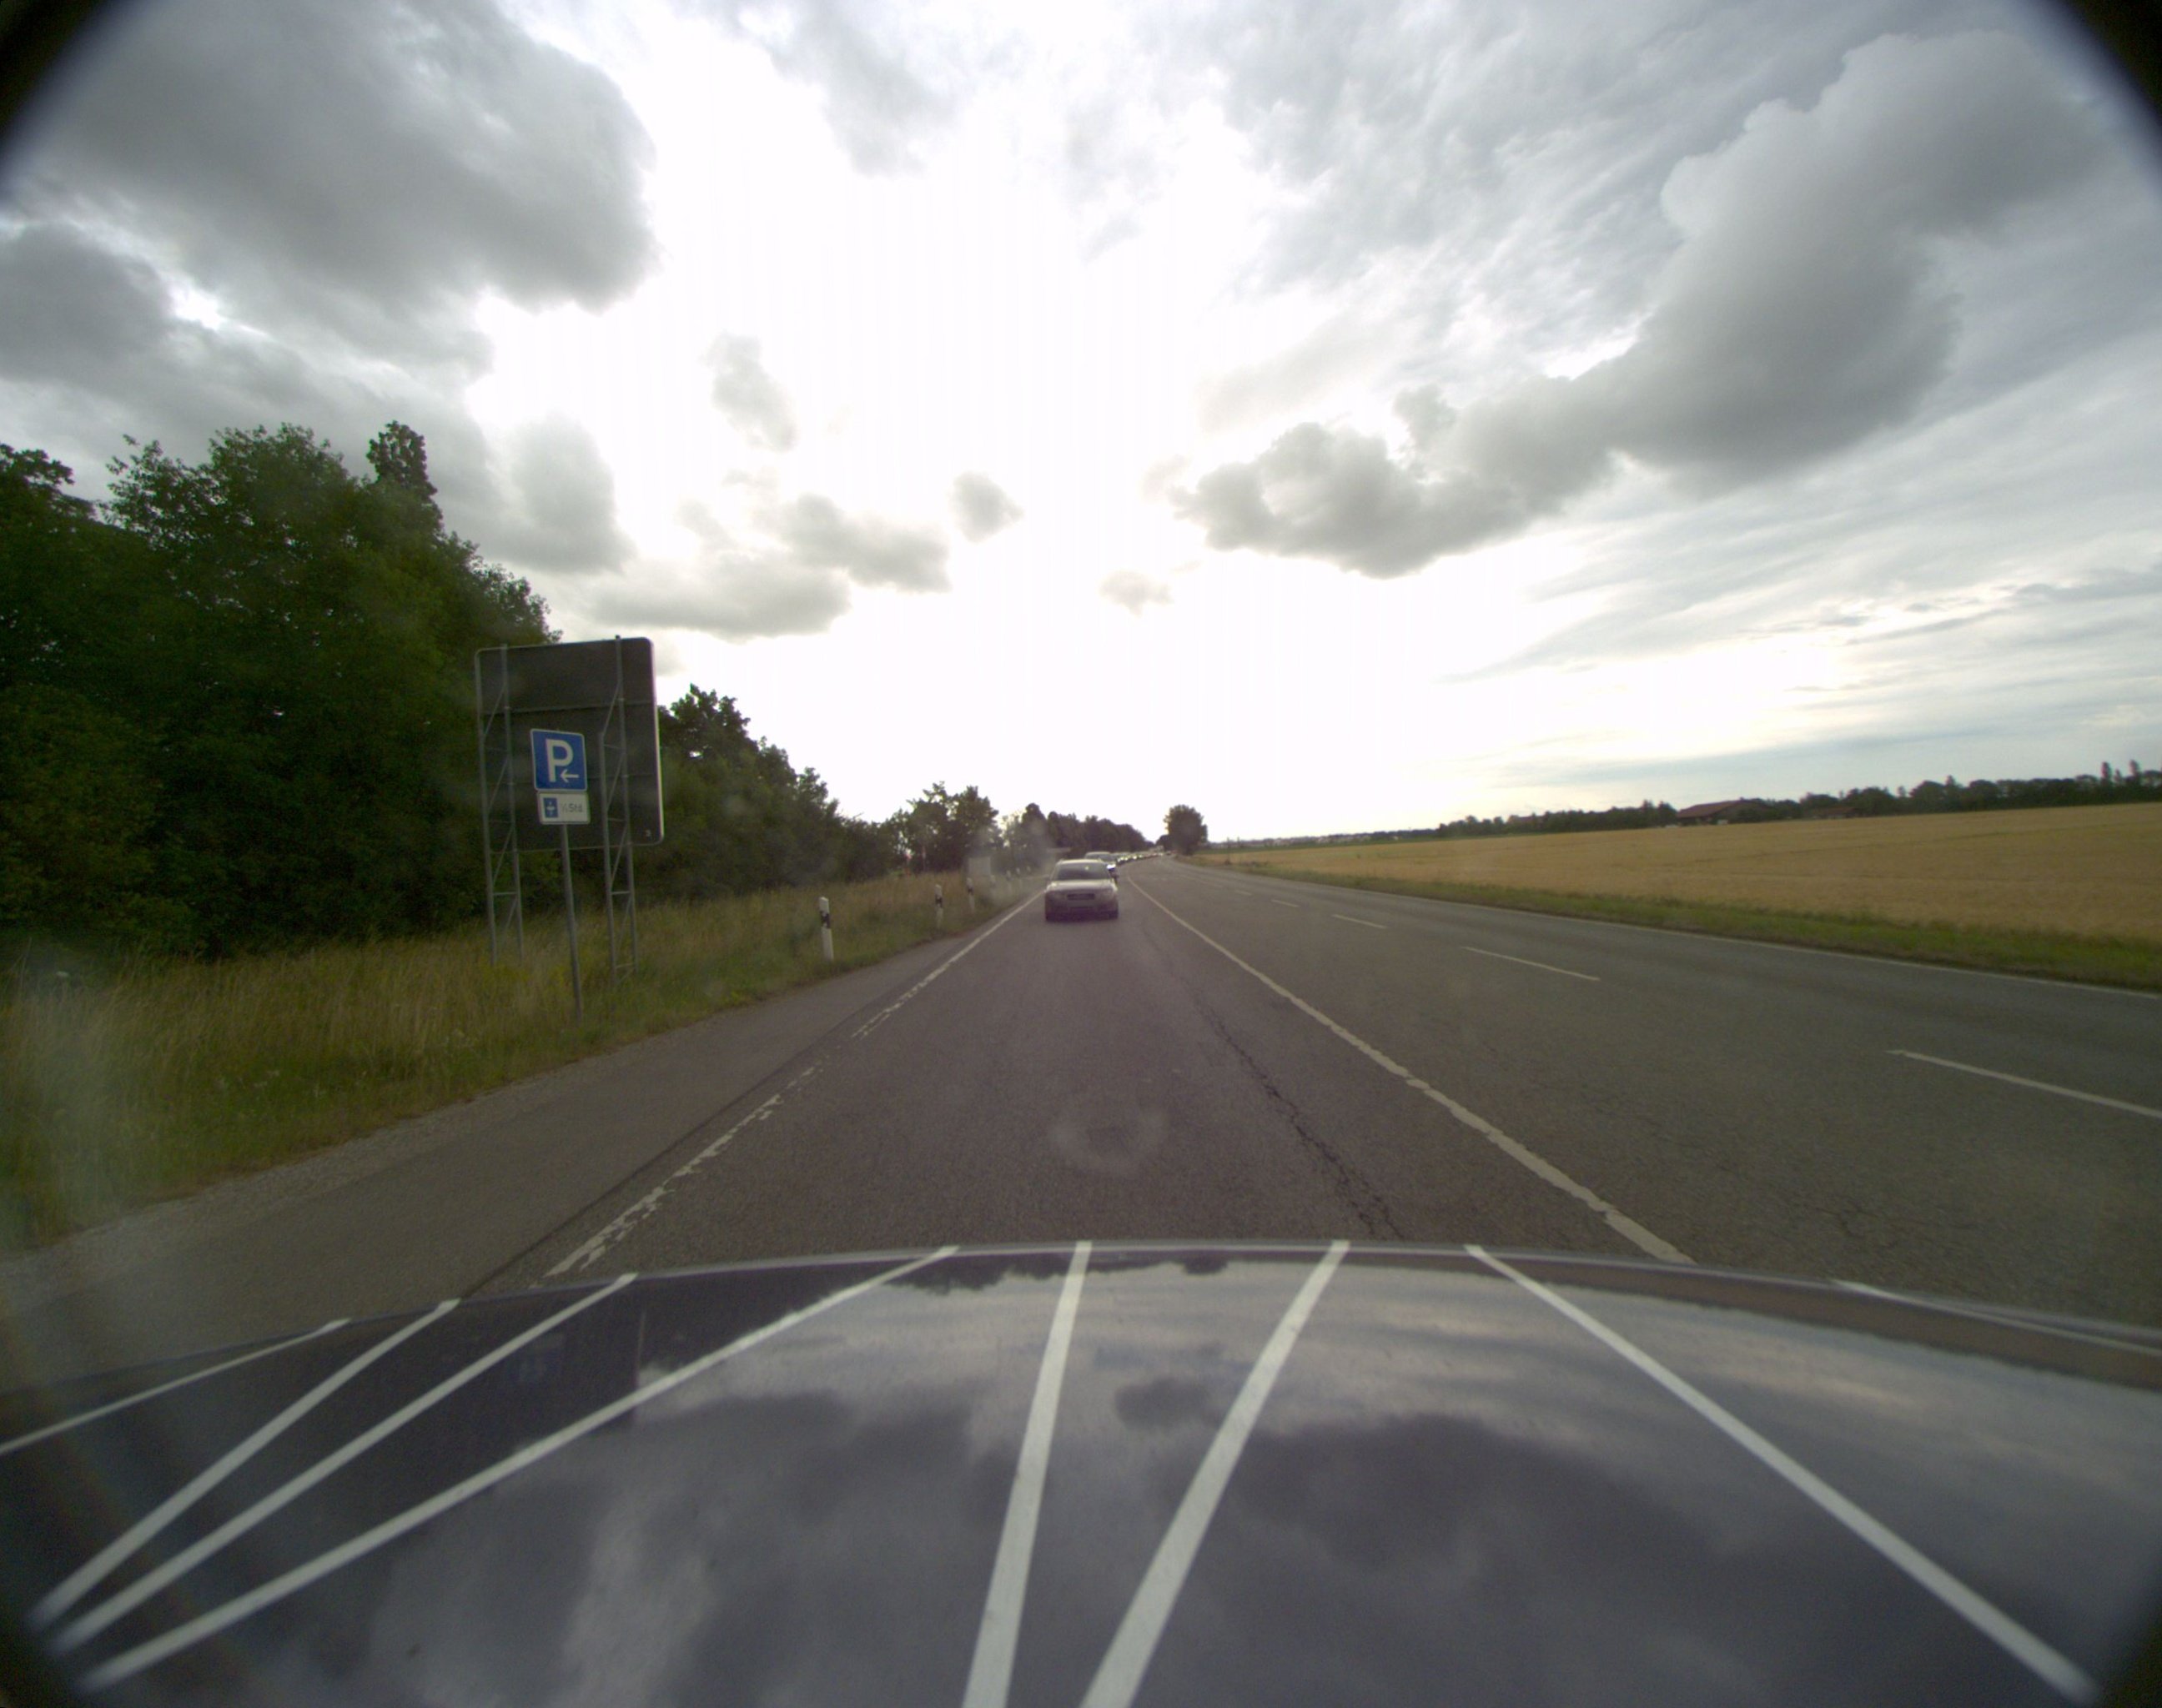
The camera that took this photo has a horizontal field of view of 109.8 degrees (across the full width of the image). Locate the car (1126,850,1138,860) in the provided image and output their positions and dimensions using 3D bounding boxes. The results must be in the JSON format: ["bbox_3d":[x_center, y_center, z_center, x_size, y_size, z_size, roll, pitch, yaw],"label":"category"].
[{"bbox_3d":[8.532,0.198,126.856,1.793,1.573,4.189,-2,0,6],"label":"car"}]

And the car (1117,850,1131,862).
[{"bbox_3d":[6.211,0.311,109.753,1.793,1.573,4.189,-2,0,6],"label":"car"}]

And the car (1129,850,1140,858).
[{"bbox_3d":[10.603,0.031,150.423,1.793,1.573,4.139,-2,0,7],"label":"car"}]

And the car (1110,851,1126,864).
[{"bbox_3d":[4.767,0.478,97.276,1.793,1.573,4.369,-2,0,5],"label":"car"}]

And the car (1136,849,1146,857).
[{"bbox_3d":[13.037,-0.179,164.706,1.792,1.573,4.140,-2,0,10],"label":"car"}]

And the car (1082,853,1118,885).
[{"bbox_3d":[1.035,0.773,41.047,1.793,1.573,4.367,-2,0,2],"label":"car"}]

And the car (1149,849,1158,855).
[{"bbox_3d":[20.310,-0.600,212.065,1.792,1.531,4.140,-2,0,13],"label":"car"}]

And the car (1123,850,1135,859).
[{"bbox_3d":[8.659,0.090,138.029,1.793,1.573,4.139,-2,0,8],"label":"car"}]

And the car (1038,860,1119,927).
[{"bbox_3d":[-0.005,0.909,19.481,1.793,1.415,4.367,-2,0,2],"label":"car"}]

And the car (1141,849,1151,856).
[{"bbox_3d":[15.498,-0.377,181.435,1.792,1.573,4.140,-2,0,11],"label":"car"}]

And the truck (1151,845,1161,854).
[{"bbox_3d":[23.575,-1.405,237.892,2.318,2.749,7.678,-3,0,10],"label":"truck"}]
